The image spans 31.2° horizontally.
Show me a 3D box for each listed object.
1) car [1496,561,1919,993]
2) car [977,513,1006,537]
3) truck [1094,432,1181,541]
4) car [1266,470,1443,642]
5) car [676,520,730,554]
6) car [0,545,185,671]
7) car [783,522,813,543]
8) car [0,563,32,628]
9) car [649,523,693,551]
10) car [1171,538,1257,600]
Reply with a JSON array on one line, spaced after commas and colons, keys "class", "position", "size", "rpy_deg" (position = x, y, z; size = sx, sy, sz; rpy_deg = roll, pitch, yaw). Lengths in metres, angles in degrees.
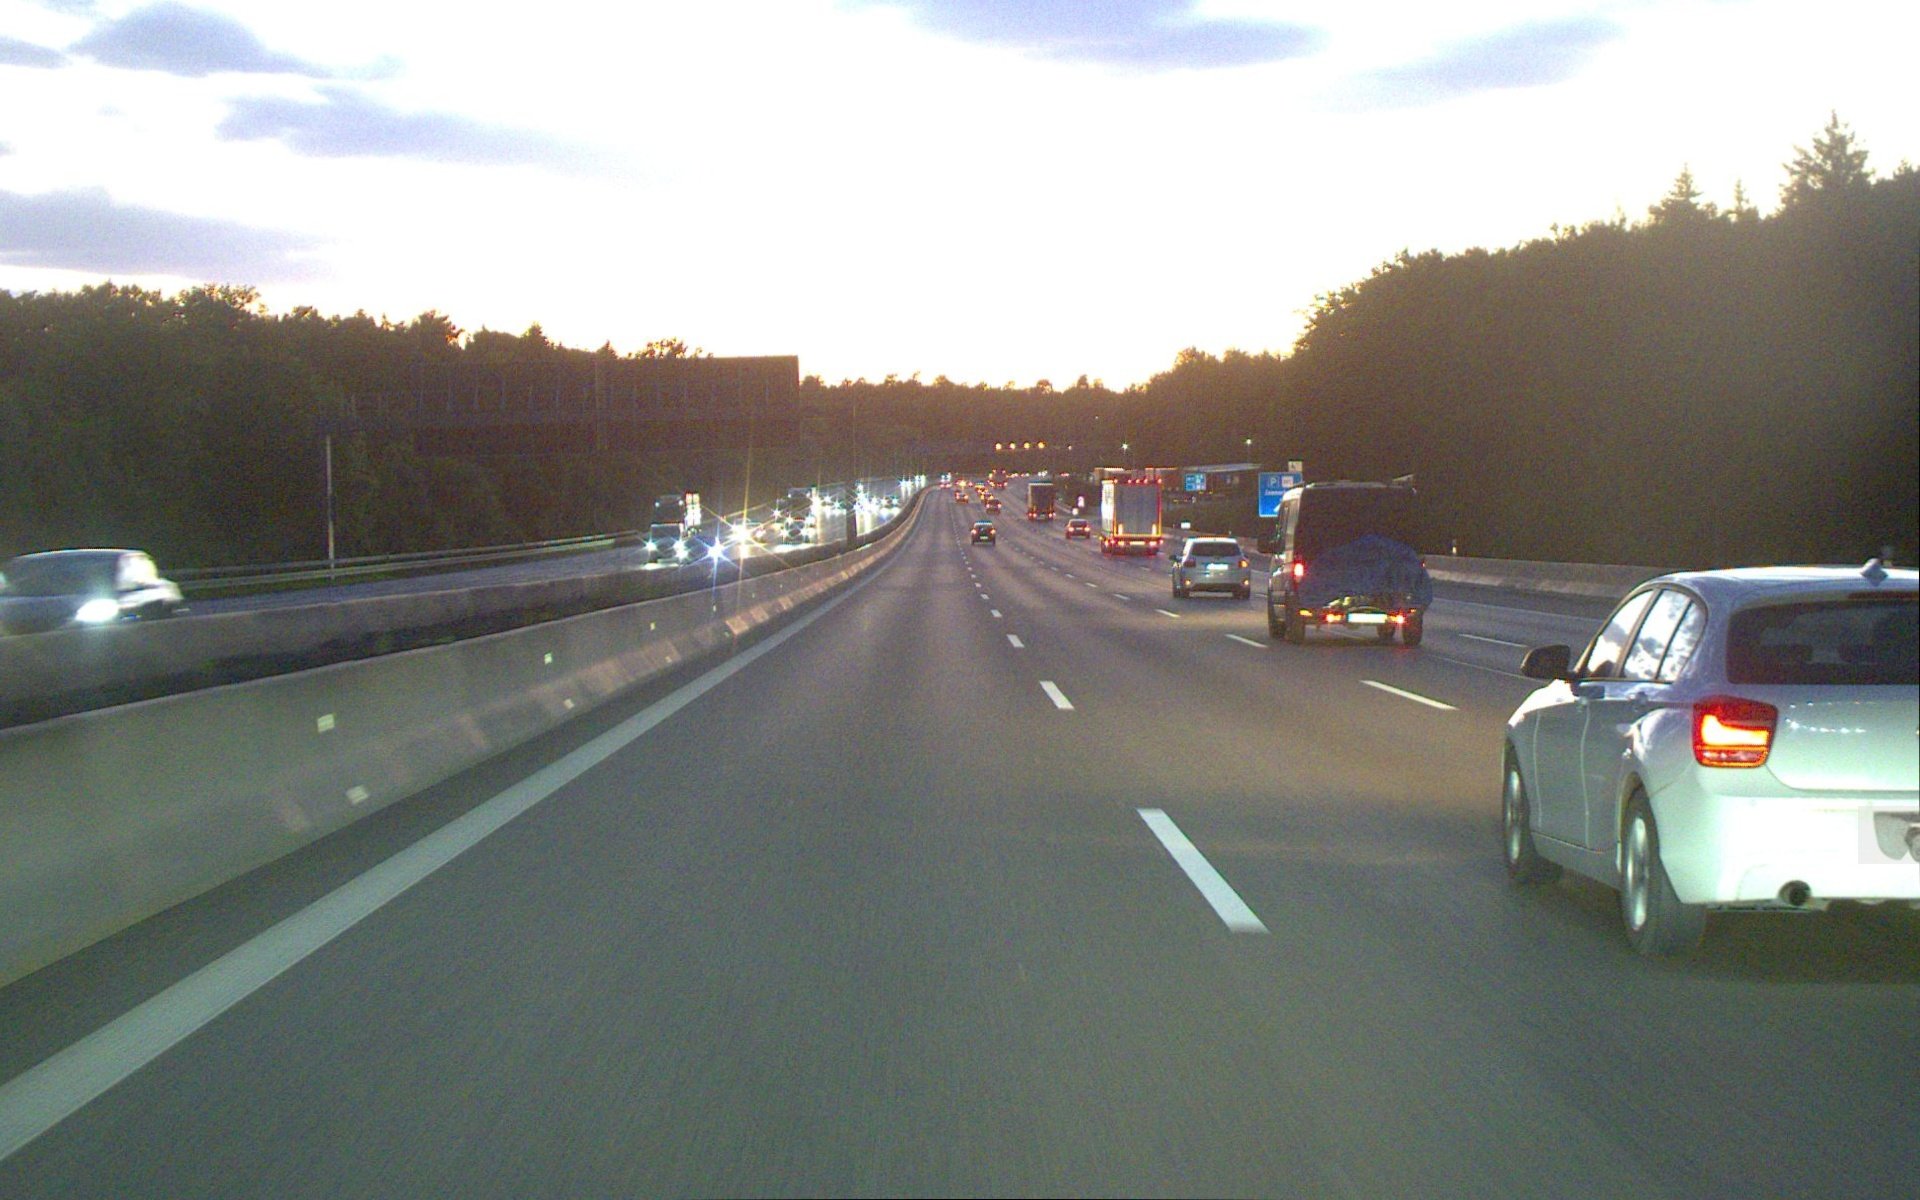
[{"class": "car", "position": [3.356, 0.587, 13.366], "size": [1.859, 1.437, 3.720], "rpy_deg": [1, 0, -1]}, {"class": "car", "position": [2.148, -5.104, 234.198], "size": [1.836, 1.565, 4.000], "rpy_deg": [0, 1, 2]}, {"class": "truck", "position": [9.831, -6.218, 192.376], "size": [4.149, 5.836, 14.297], "rpy_deg": [0, 1, 0]}, {"class": "car", "position": [5.832, -0.670, 51.428], "size": [2.166, 2.410, 5.564], "rpy_deg": [0, 1, 2]}, {"class": "car", "position": [-10.911, -2.676, 146.116], "size": [1.836, 1.433, 4.000], "rpy_deg": [0, 1, 2]}, {"class": "car", "position": [-10.676, 0.059, 41.264], "size": [1.836, 1.433, 4.000], "rpy_deg": [0, 1, 0]}, {"class": "car", "position": [-11.592, -4.829, 246.296], "size": [1.836, 1.433, 4.000], "rpy_deg": [0, 1, 2]}, {"class": "car", "position": [-22.439, -0.091, 77.543], "size": [1.836, 1.433, 4.000], "rpy_deg": [0, 1, 2]}, {"class": "car", "position": [-15.197, -3.319, 180.801], "size": [1.836, 1.433, 4.000], "rpy_deg": [0, 1, 2]}, {"class": "car", "position": [6.406, -0.807, 87.045], "size": [2.008, 1.533, 4.000], "rpy_deg": [0, 1, 2]}]
